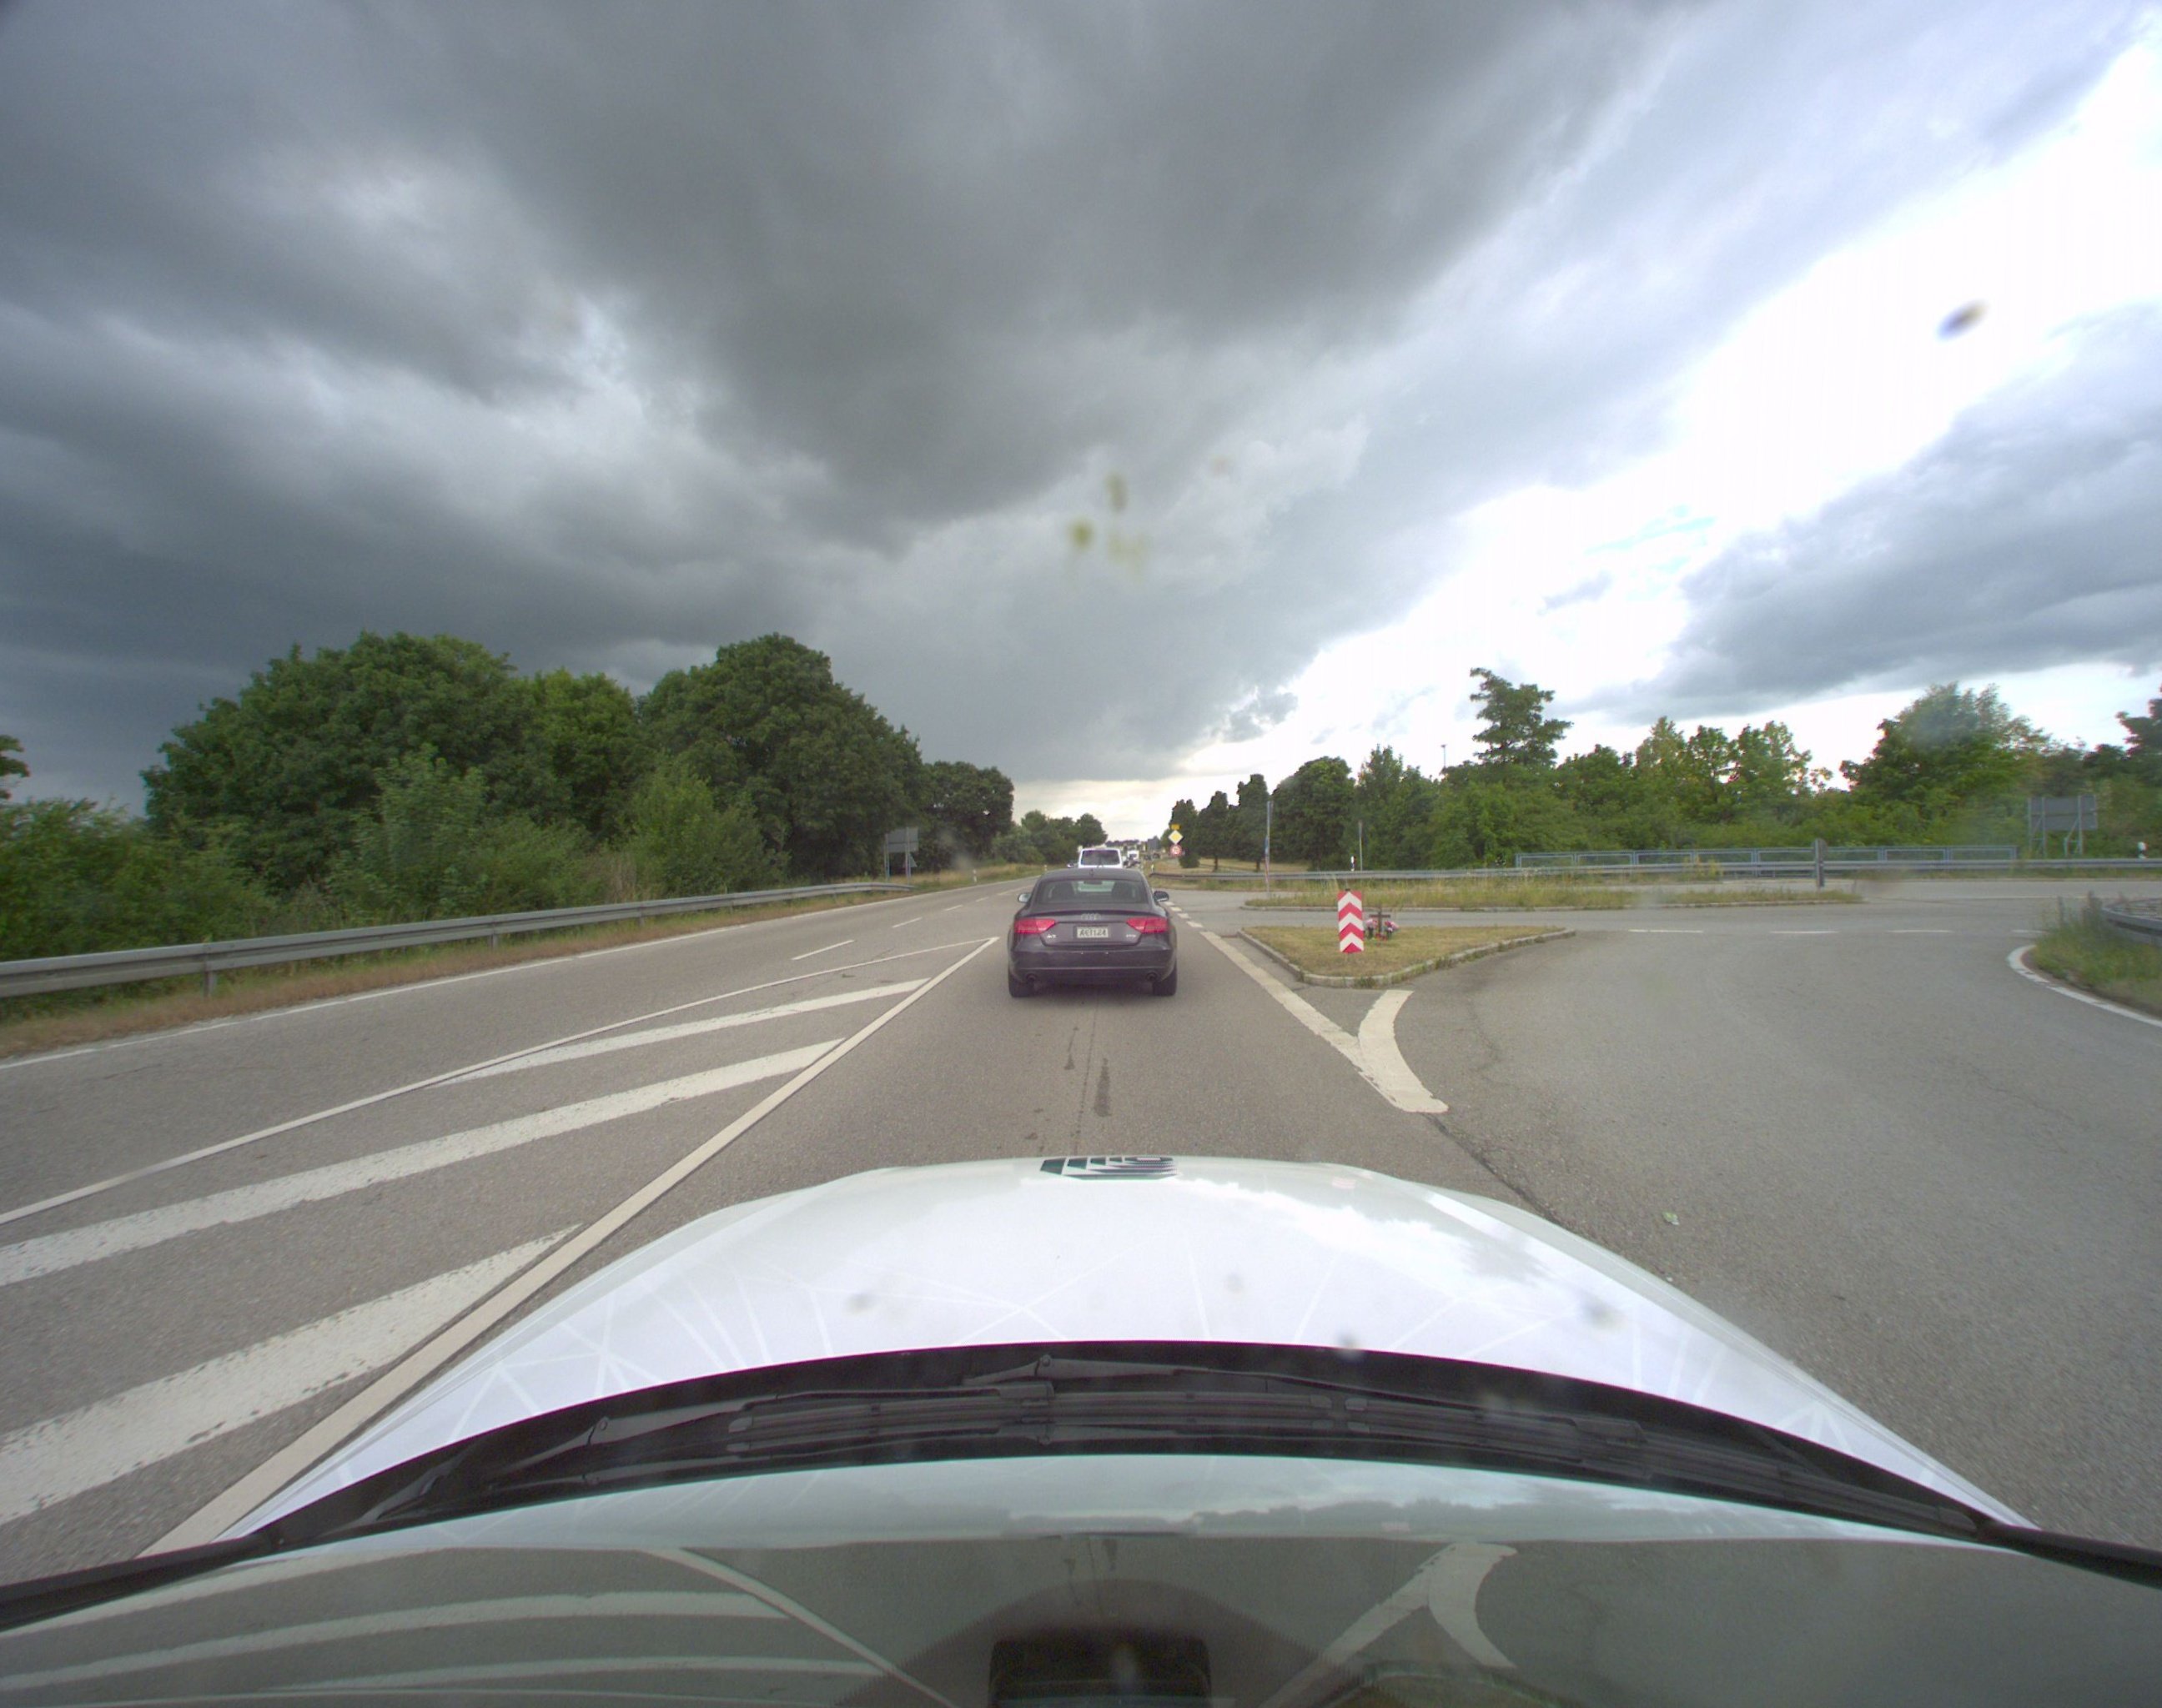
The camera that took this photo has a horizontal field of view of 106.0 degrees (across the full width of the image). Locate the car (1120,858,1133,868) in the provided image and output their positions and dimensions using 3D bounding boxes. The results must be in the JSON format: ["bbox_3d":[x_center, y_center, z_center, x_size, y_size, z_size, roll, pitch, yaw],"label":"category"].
[{"bbox_3d":[7.319,1.410,131.098,1.726,1.514,3.754,-1,-1,8],"label":"car"}]

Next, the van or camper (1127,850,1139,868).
[{"bbox_3d":[10.462,0.994,162.506,2.330,3.481,5.724,-1,-1,4],"label":"van or camper"}]

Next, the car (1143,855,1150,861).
[{"bbox_3d":[16.058,0.879,200.305,1.712,1.451,4.003,0,0,3],"label":"car"}]

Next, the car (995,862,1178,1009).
[{"bbox_3d":[0.117,0.809,9.930,1.776,1.376,4.002,-1,0,2],"label":"car"}]

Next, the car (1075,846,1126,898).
[{"bbox_3d":[0.787,0.643,31.644,1.832,1.882,4.002,-1,0,2],"label":"car"}]

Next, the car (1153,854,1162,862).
[{"bbox_3d":[21.344,1.068,227.240,1.986,2.014,4.001,-1,0,1],"label":"car"}]

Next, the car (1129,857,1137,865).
[{"bbox_3d":[9.236,1.264,144.290,1.251,1.353,3.473,-1,-1,8],"label":"car"}]

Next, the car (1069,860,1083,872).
[{"bbox_3d":[-0.601,1.575,108.298,1.704,1.523,4.002,-1,0,2],"label":"car"}]

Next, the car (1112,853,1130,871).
[{"bbox_3d":[4.987,1.013,101.000,1.984,2.088,4.005,-1,-1,5],"label":"car"}]

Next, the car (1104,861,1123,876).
[{"bbox_3d":[3.428,1.515,85.881,1.787,1.464,3.253,-1,-1,5],"label":"car"}]
